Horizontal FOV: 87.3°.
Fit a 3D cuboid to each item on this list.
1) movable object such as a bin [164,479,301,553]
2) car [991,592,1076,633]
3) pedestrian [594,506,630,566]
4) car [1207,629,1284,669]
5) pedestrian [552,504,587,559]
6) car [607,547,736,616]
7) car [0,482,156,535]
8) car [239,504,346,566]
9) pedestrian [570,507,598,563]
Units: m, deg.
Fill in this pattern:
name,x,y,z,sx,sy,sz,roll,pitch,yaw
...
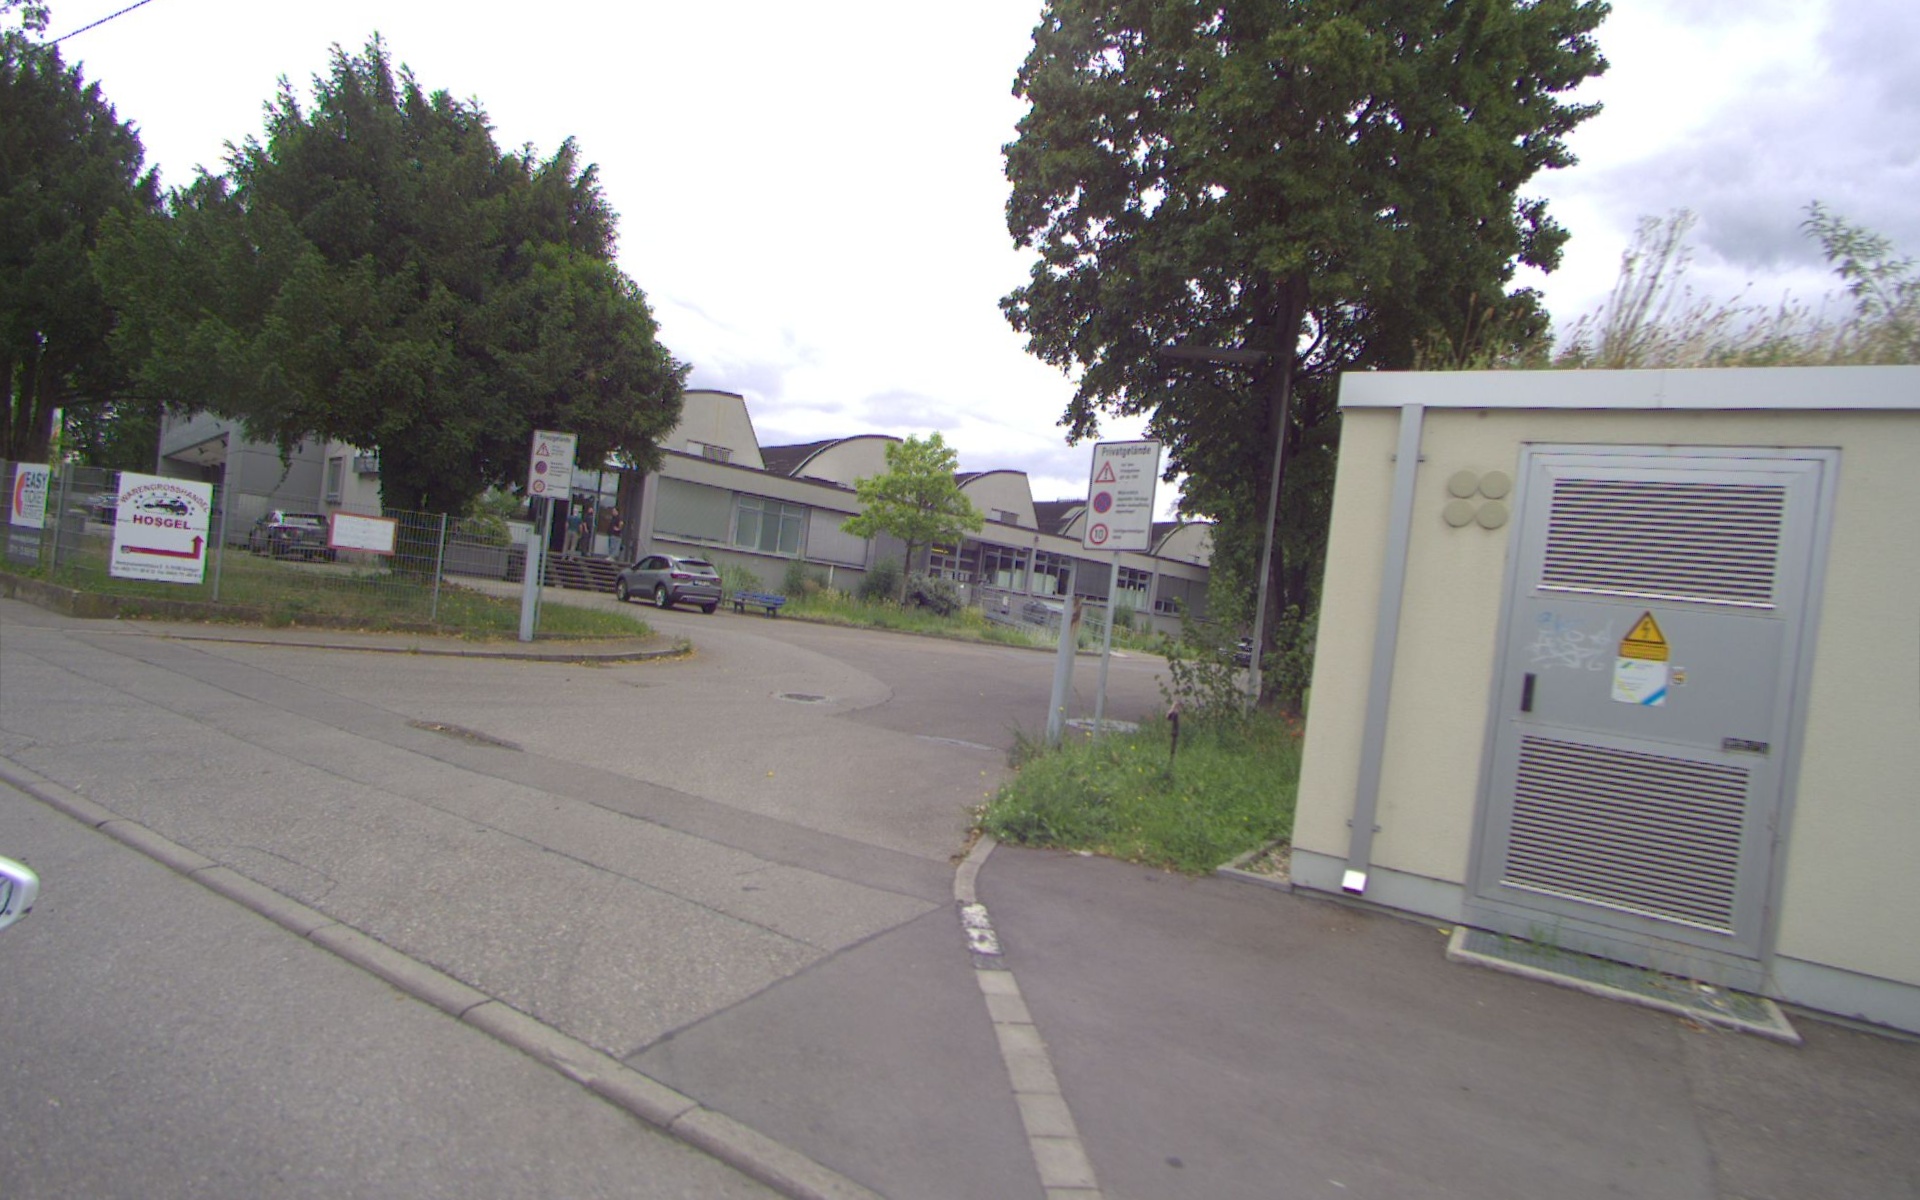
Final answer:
name,x,y,z,sx,sy,sz,roll,pitch,yaw
movable object such as a bin,-28.825,-3.289,39.931,1.926,2.334,3.977,7,1,43
car,3.668,0.626,50.894,1.896,1.540,4.018,6,1,-40
pedestrian,-12.490,-2.309,36.091,0.791,2.039,0.910,5,1,-41
car,14.066,2.426,49.358,1.970,1.540,4.423,8,1,38
pedestrian,-13.401,-2.341,34.530,0.907,1.774,0.793,6,1,-19
car,-9.119,-0.601,31.580,1.987,1.633,4.386,6,1,-43
car,-36.163,-3.732,41.172,4.614,1.492,1.996,6,0,-10
car,-21.648,-2.131,32.559,4.383,1.588,1.987,8,3,44
pedestrian,-13.514,-2.323,36.132,0.736,1.909,0.690,6,1,-24
